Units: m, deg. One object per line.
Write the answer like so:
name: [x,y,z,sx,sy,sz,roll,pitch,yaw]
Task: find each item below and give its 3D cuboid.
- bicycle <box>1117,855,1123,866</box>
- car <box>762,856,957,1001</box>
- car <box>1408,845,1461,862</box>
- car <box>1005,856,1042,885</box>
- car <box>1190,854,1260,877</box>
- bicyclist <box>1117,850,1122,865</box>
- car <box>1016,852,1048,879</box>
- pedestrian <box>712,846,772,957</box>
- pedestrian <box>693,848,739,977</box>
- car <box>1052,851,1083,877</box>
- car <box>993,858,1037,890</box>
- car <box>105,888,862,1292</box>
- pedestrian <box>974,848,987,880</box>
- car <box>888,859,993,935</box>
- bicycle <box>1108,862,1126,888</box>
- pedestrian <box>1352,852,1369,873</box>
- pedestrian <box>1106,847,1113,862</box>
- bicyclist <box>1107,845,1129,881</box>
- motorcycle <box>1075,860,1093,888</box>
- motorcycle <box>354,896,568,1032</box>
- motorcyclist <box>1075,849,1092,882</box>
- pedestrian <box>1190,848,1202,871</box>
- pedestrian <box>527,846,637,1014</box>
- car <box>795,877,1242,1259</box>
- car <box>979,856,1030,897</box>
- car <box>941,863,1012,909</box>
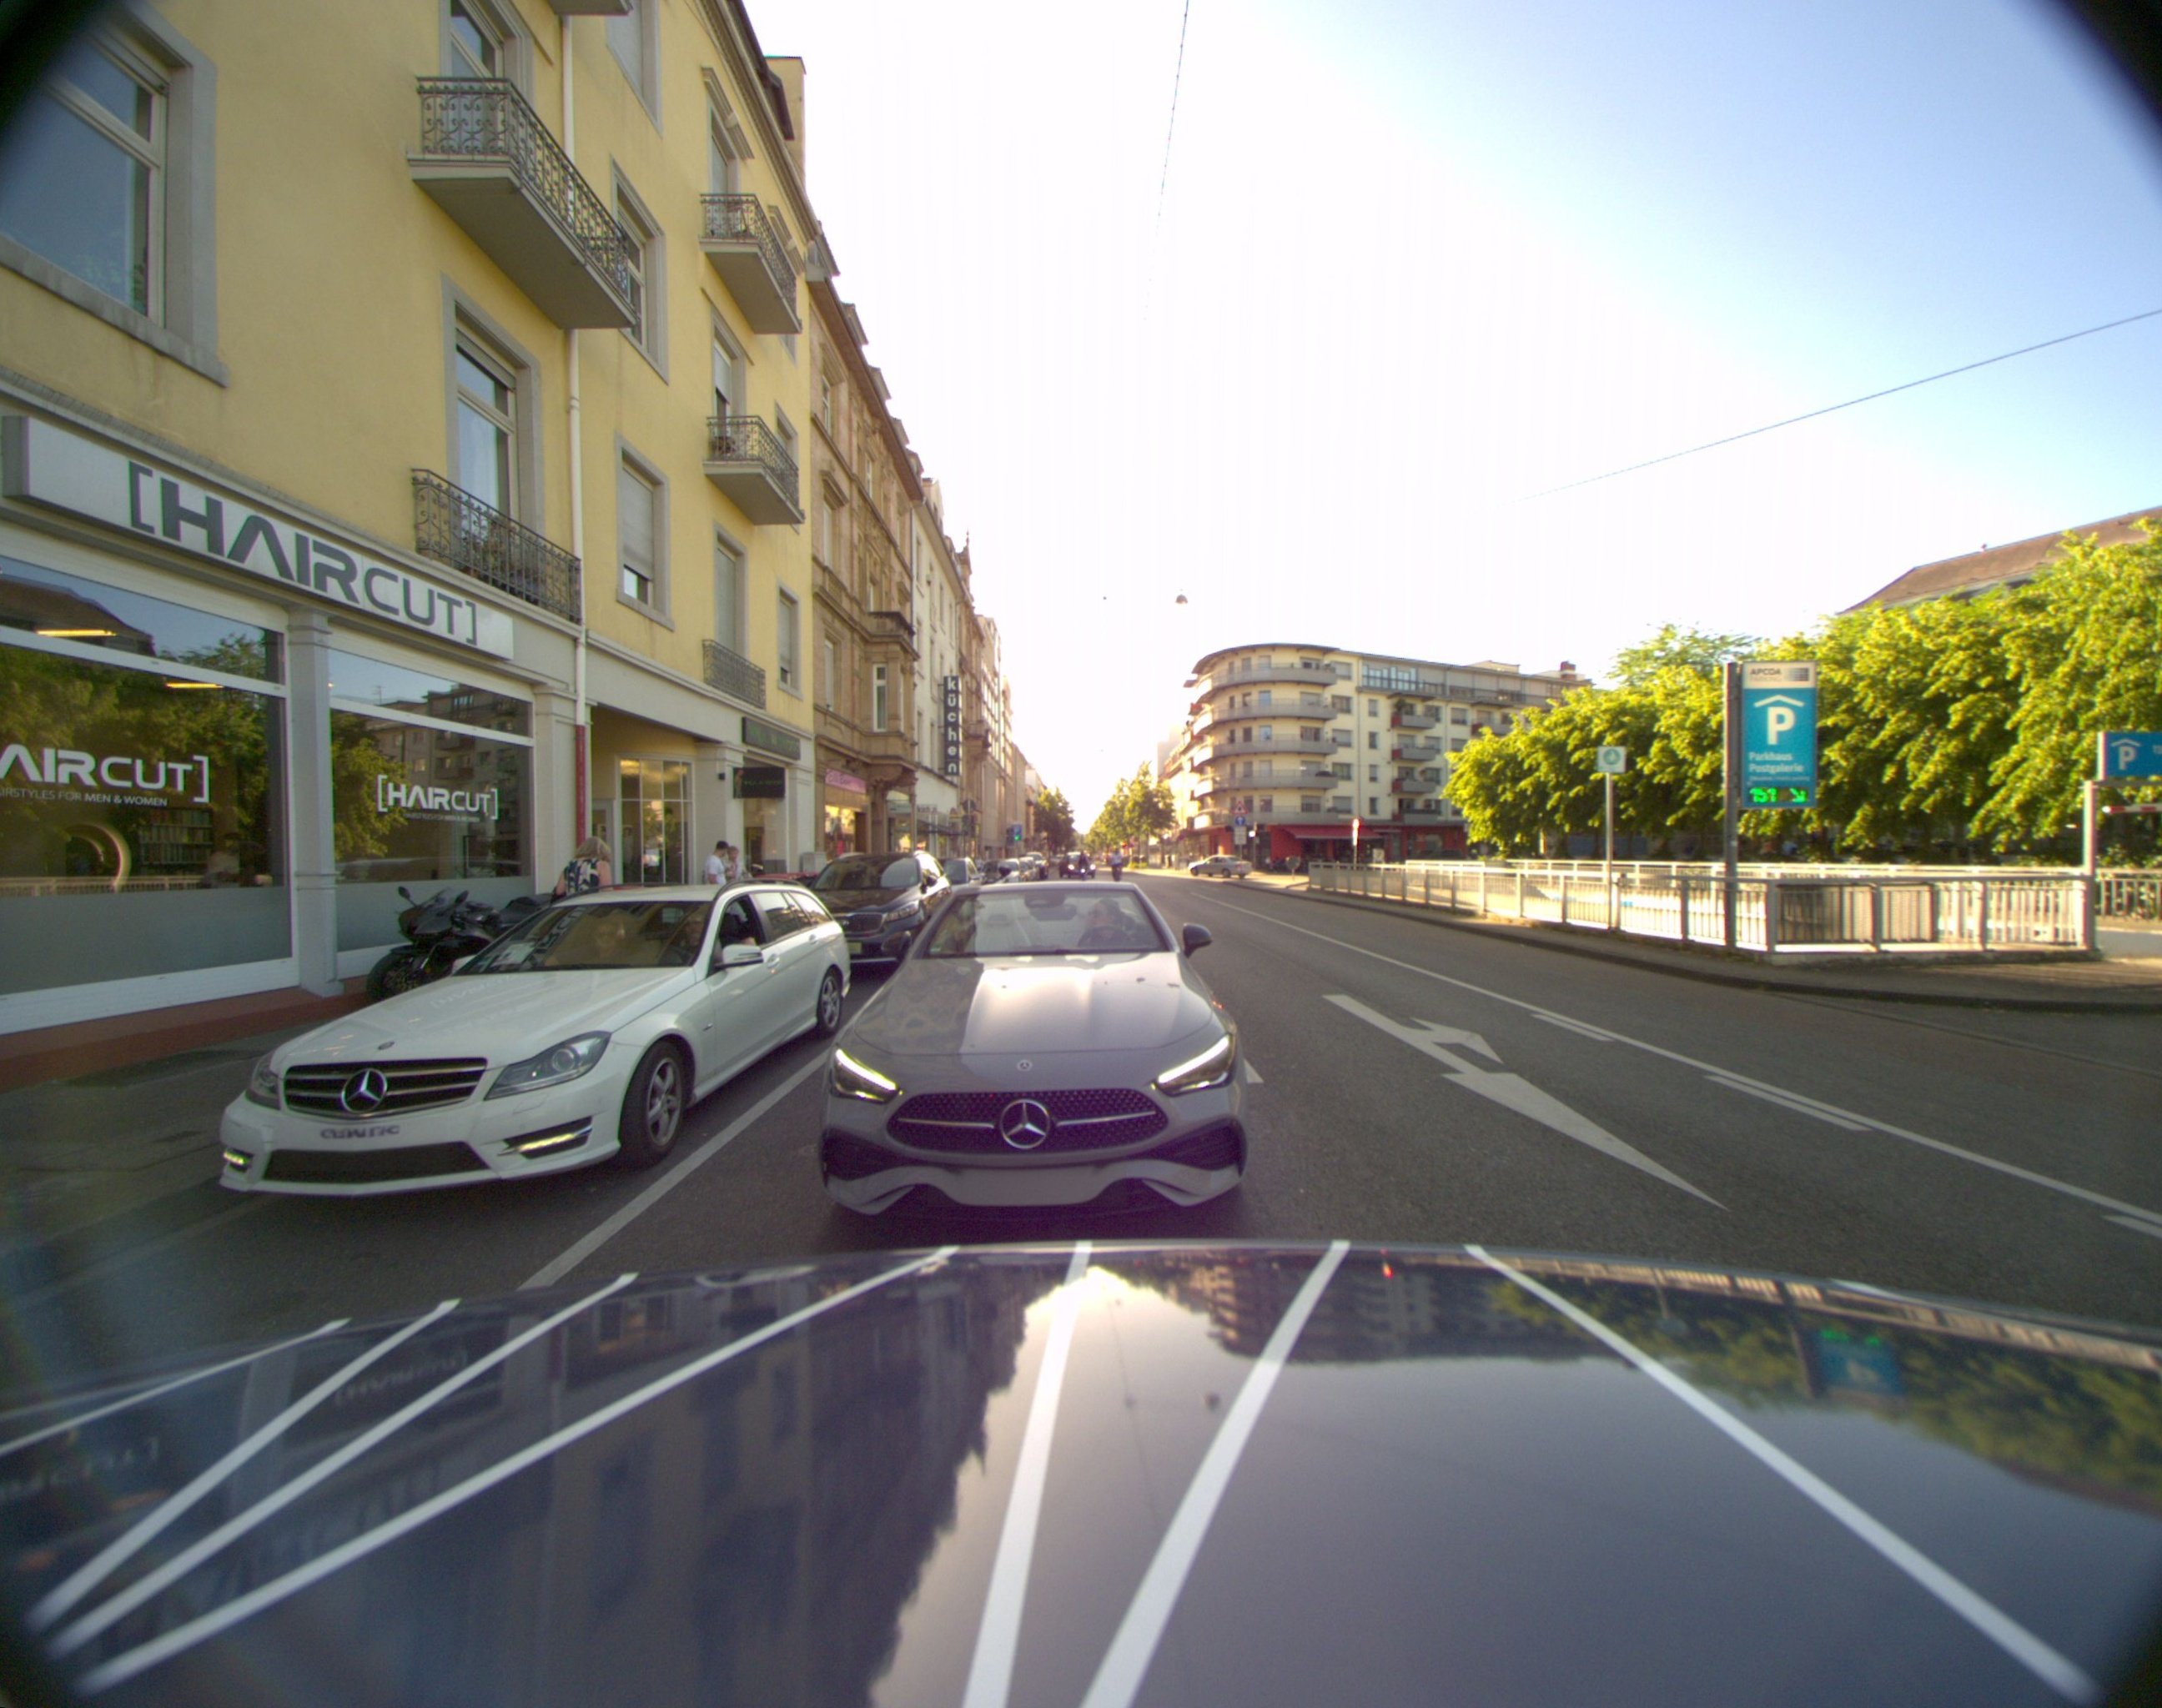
bicycle: [4.095,0.681,80.342,0.527,1.163,1.593,-2,1,1]
car: [-3.019,0.905,11.331,1.803,1.629,4.243,-2,1,-3]
car: [29.043,-0.053,62.438,4.004,1.294,1.753,-2,1,-23]
car: [-3.042,0.853,40.903,1.725,1.332,3.668,-2,1,-1]
car: [9.351,0.700,49.710,1.828,1.346,4.252,0,2,-42]
bicyclist: [4.078,0.373,80.331,0.525,1.539,0.798,-2,1,1]
car: [-3.048,0.695,47.463,1.725,1.506,4.004,-2,1,-1]
pedestrian: [-5.785,0.794,12.986,0.664,1.840,0.575,-2,1,2]
pedestrian: [-5.751,0.900,11.985,0.374,1.971,0.694,-1,1,-3]
car: [-0.824,0.596,49.486,1.856,1.543,3.999,-2,1,1]
car: [-3.131,0.920,36.901,1.802,1.332,3.838,-2,1,-1]
car: [-3.067,1.067,5.288,1.704,1.351,4.378,-2,1,1]
pedestrian: [-5.843,0.566,44.229,0.574,1.840,0.665,-2,1,1]
car: [-3.299,0.940,18.593,1.802,1.518,4.085,-2,1,-1]
bicycle: [1.674,0.942,34.662,0.640,1.078,2.062,-1,0,7]
pedestrian: [21.858,0.651,59.348,0.863,1.586,0.887,-3,1,-38]
pedestrian: [3.899,0.010,104.864,0.860,2.002,0.889,-2,1,1]
bicyclist: [1.693,0.421,34.802,0.885,1.625,0.769,-2,0,7]
motorcycle: [0.133,0.903,34.708,0.720,1.177,1.906,-2,1,2]
motorcycle: [-6.211,1.041,7.777,0.567,1.072,1.954,2,1,1]
motorcyclist: [0.115,0.510,34.695,0.722,1.438,0.705,-2,1,2]
pedestrian: [10.285,0.484,68.168,0.860,2.002,0.889,-2,1,0]
pedestrian: [-5.087,0.750,7.773,0.719,1.644,0.606,1,1,1]
car: [-0.274,0.952,5.155,1.802,1.351,3.999,-2,1,-1]
car: [-3.015,0.870,30.734,1.660,1.423,4.085,-2,1,-1]
car: [-3.392,1.010,25.342,1.802,1.259,4.085,-2,1,-1]
